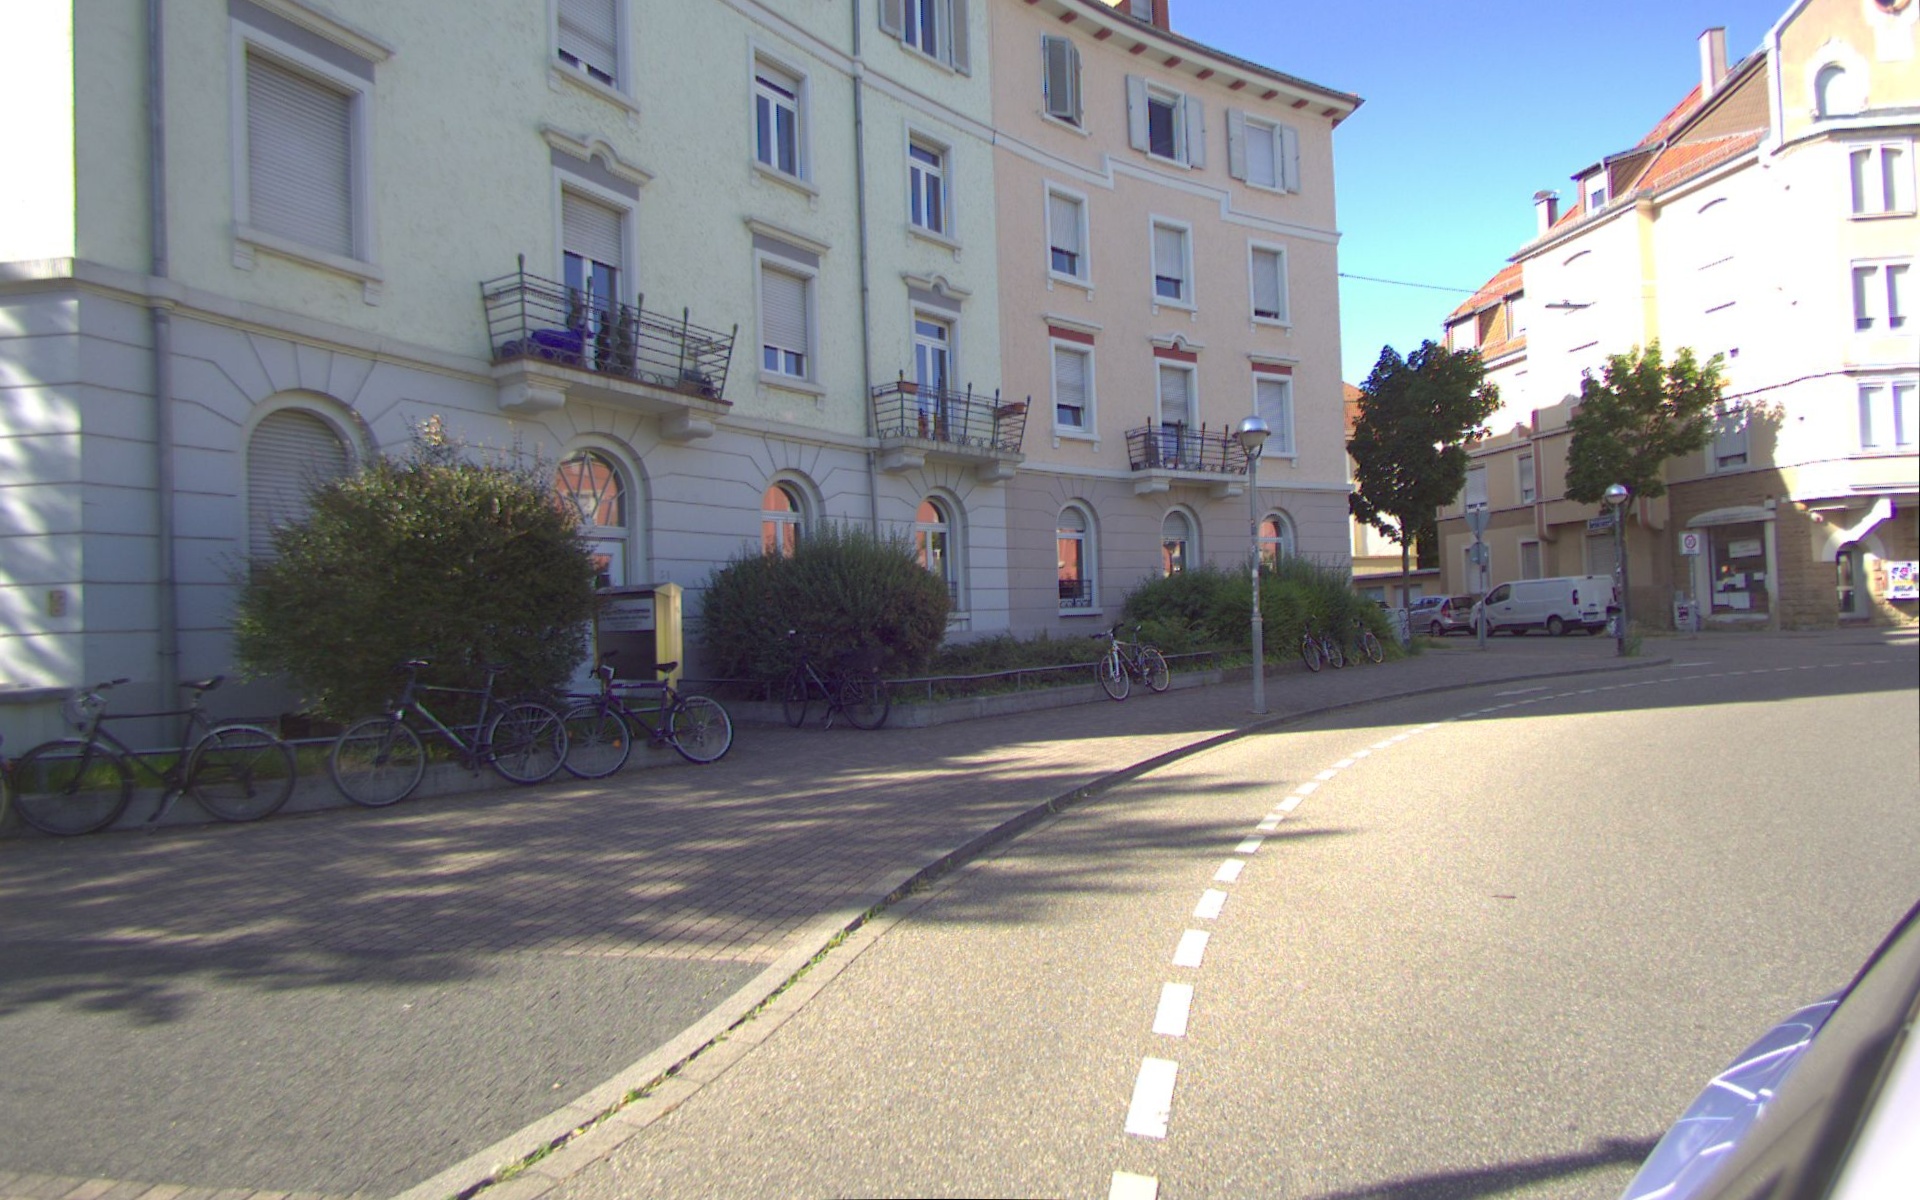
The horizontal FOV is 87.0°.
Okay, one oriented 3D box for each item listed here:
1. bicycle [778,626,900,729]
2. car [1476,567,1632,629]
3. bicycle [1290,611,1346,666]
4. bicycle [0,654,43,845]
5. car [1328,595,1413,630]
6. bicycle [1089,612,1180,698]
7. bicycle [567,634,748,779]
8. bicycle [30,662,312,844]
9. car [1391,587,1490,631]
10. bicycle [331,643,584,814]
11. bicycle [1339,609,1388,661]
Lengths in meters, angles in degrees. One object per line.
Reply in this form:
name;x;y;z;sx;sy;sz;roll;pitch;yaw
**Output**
bicycle;-1.465;0.917;12.133;1.500;1.169;0.430;-3;-1;34
car;20.265;-0.015;34.776;1.858;1.966;4.457;-2;-1;-16
bicycle;6.982;0.735;19.717;1.367;1.008;0.377;-1;-1;-41
bicycle;-7.142;1.044;6.869;1.474;1.254;0.326;-3;-1;-2
car;17.846;0.558;44.146;1.653;1.392;3.550;-2;-1;-12
bicycle;2.622;0.785;15.081;1.643;1.169;0.434;-1;0;-44
bicycle;-2.764;0.938;9.379;0.365;1.163;1.612;-3;-1;43
bicycle;-5.595;1.060;7.246;1.539;1.118;0.352;-3;-1;-17
car;18.836;0.375;39.861;1.653;1.596;3.550;-2;-1;-12
bicycle;-3.993;0.973;8.128;1.747;1.163;0.444;-1;-1;-38
bicycle;8.415;0.716;21.068;1.368;1.008;0.377;-1;-2;-44
